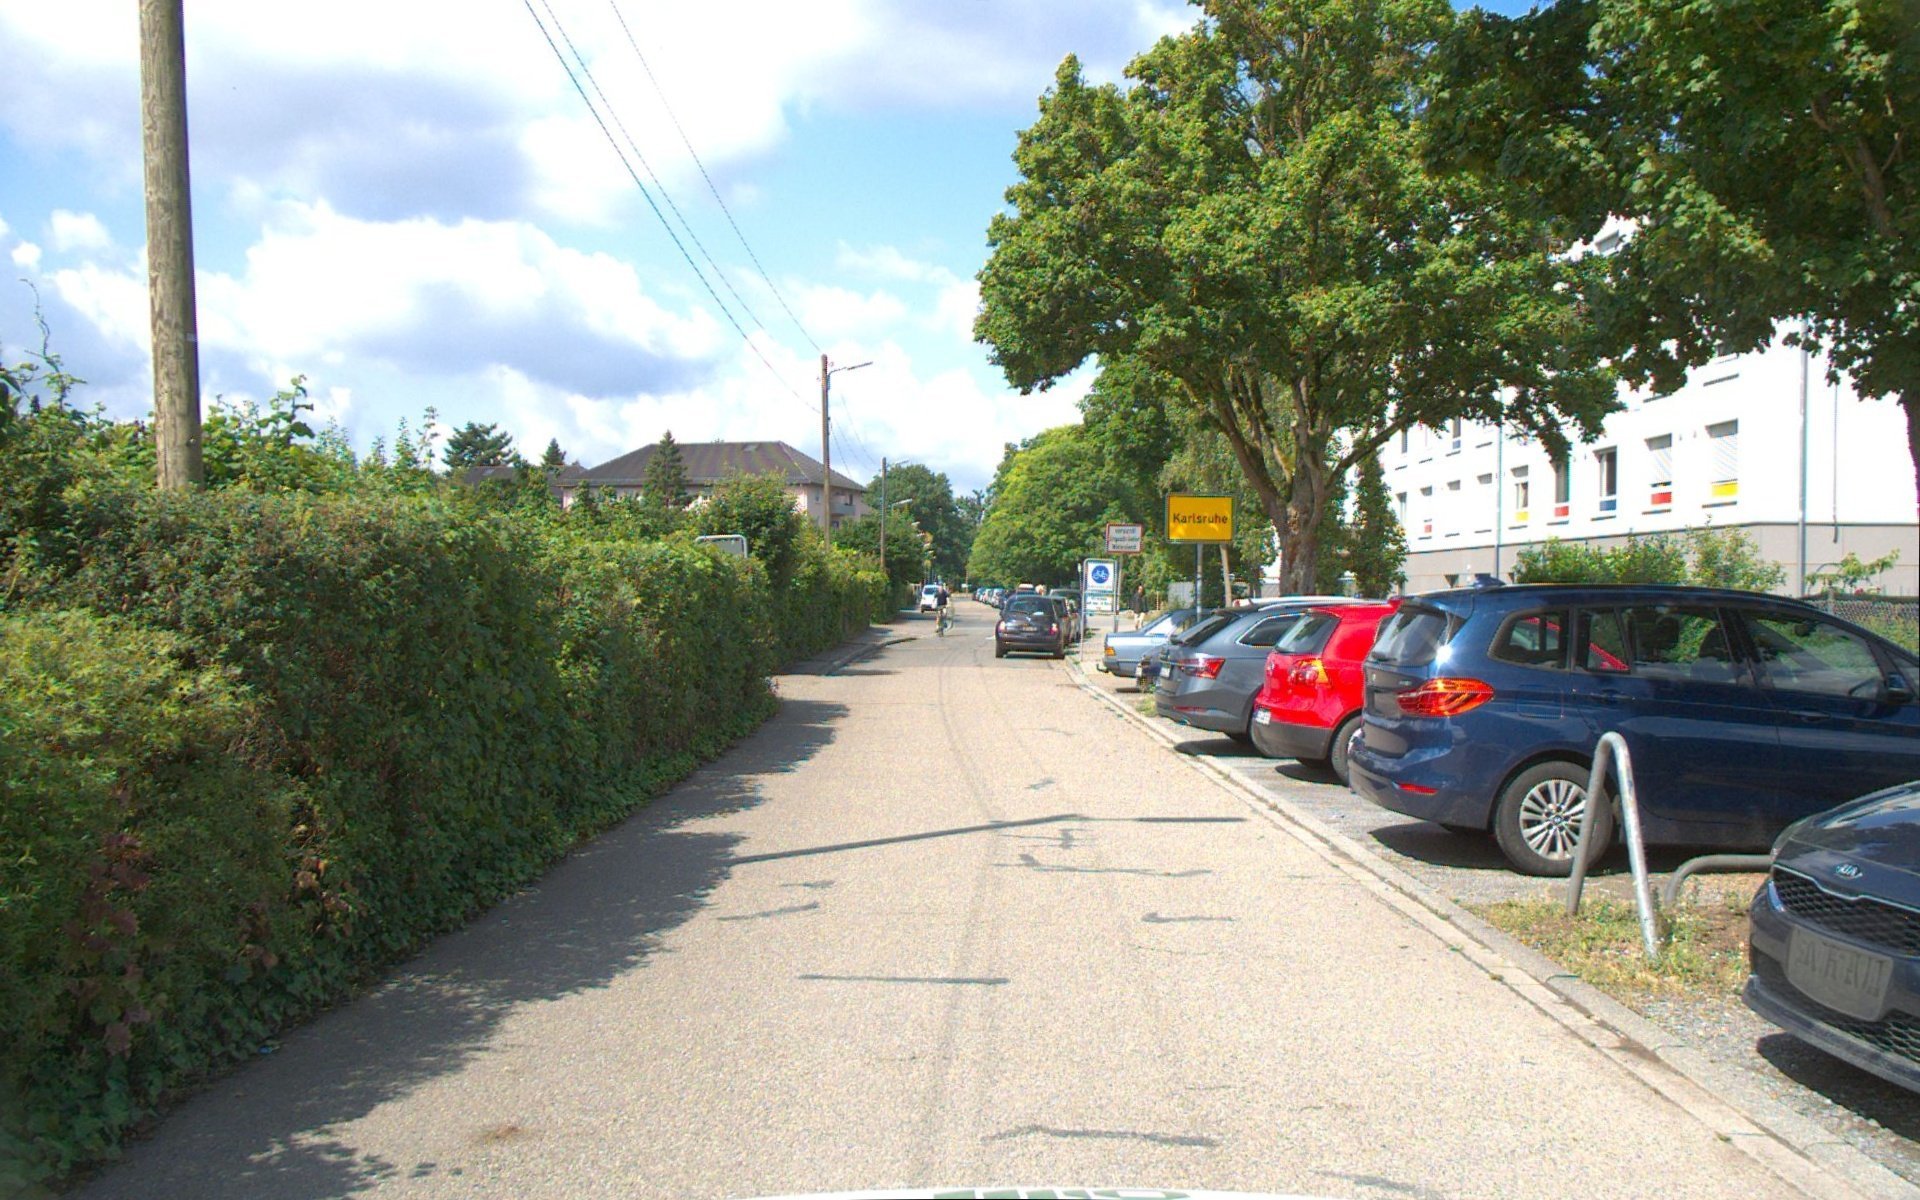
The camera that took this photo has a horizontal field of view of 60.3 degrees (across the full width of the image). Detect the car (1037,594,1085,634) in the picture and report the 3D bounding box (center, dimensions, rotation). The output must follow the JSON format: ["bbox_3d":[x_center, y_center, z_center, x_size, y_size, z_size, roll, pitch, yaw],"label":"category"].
[{"bbox_3d":[3.837,0.520,63.411,1.629,1.460,3.542,2,0,1],"label":"car"}]

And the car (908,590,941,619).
[{"bbox_3d":[-2.323,0.274,109.826,1.863,1.846,4.001,2,0,2],"label":"car"}]

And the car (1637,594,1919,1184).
[{"bbox_3d":[4.605,0.815,5.046,4.247,1.518,1.975,2,0,-1],"label":"car"}]

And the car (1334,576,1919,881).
[{"bbox_3d":[4.498,0.707,10.025,4.069,1.666,1.879,0,0,1],"label":"car"}]

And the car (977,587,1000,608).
[{"bbox_3d":[2.758,-0.230,159.857,2.015,1.996,4.542,2,0,2],"label":"car"}]

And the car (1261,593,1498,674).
[{"bbox_3d":[8.138,0.635,32.284,4.154,1.455,1.758,-1,0,-1],"label":"car"}]

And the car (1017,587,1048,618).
[{"bbox_3d":[4.883,0.162,111.791,2.015,1.960,4.542,2,0,2],"label":"car"}]

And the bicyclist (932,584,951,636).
[{"bbox_3d":[-0.698,0.371,61.773,0.645,1.884,1.043,-1,0,2],"label":"bicyclist"}]

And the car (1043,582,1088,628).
[{"bbox_3d":[4.544,0.213,71.096,1.835,1.837,3.434,2,0,4],"label":"car"}]

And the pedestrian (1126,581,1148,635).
[{"bbox_3d":[5.935,0.265,55.388,0.597,1.776,0.722,2,0,13],"label":"pedestrian"}]

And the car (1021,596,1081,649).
[{"bbox_3d":[2.932,0.691,52.578,1.628,1.579,3.640,2,0,7],"label":"car"}]

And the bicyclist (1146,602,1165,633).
[{"bbox_3d":[11.542,1.023,97.688,0.771,1.817,0.892,2,0,32],"label":"bicyclist"}]

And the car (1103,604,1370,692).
[{"bbox_3d":[4.544,0.782,27.704,4.267,1.416,1.719,0,0,4],"label":"car"}]

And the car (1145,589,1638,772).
[{"bbox_3d":[4.227,0.771,16.685,4.457,1.606,1.808,2,0,-2],"label":"car"}]

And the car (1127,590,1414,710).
[{"bbox_3d":[4.542,0.719,24.595,3.854,1.586,1.867,2,0,-2],"label":"car"}]

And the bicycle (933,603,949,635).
[{"bbox_3d":[-0.693,0.695,61.767,0.507,1.170,1.827,-1,0,2],"label":"bicycle"}]

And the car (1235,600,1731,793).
[{"bbox_3d":[4.385,0.783,14.277,3.731,1.559,1.762,0,0,0],"label":"car"}]

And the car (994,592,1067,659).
[{"bbox_3d":[1.817,0.618,41.567,1.628,1.532,4.002,2,0,4],"label":"car"}]

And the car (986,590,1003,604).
[{"bbox_3d":[4.223,-0.386,204.180,1.813,1.646,4.002,2,0,4],"label":"car"}]

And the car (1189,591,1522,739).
[{"bbox_3d":[4.634,0.743,19.675,3.503,1.576,1.665,2,0,-4],"label":"car"}]

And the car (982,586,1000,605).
[{"bbox_3d":[3.531,-0.526,189.347,1.953,2.049,3.999,2,0,-1],"label":"car"}]

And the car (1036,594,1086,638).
[{"bbox_3d":[3.599,0.557,58.433,1.628,1.464,3.746,2,0,4],"label":"car"}]
